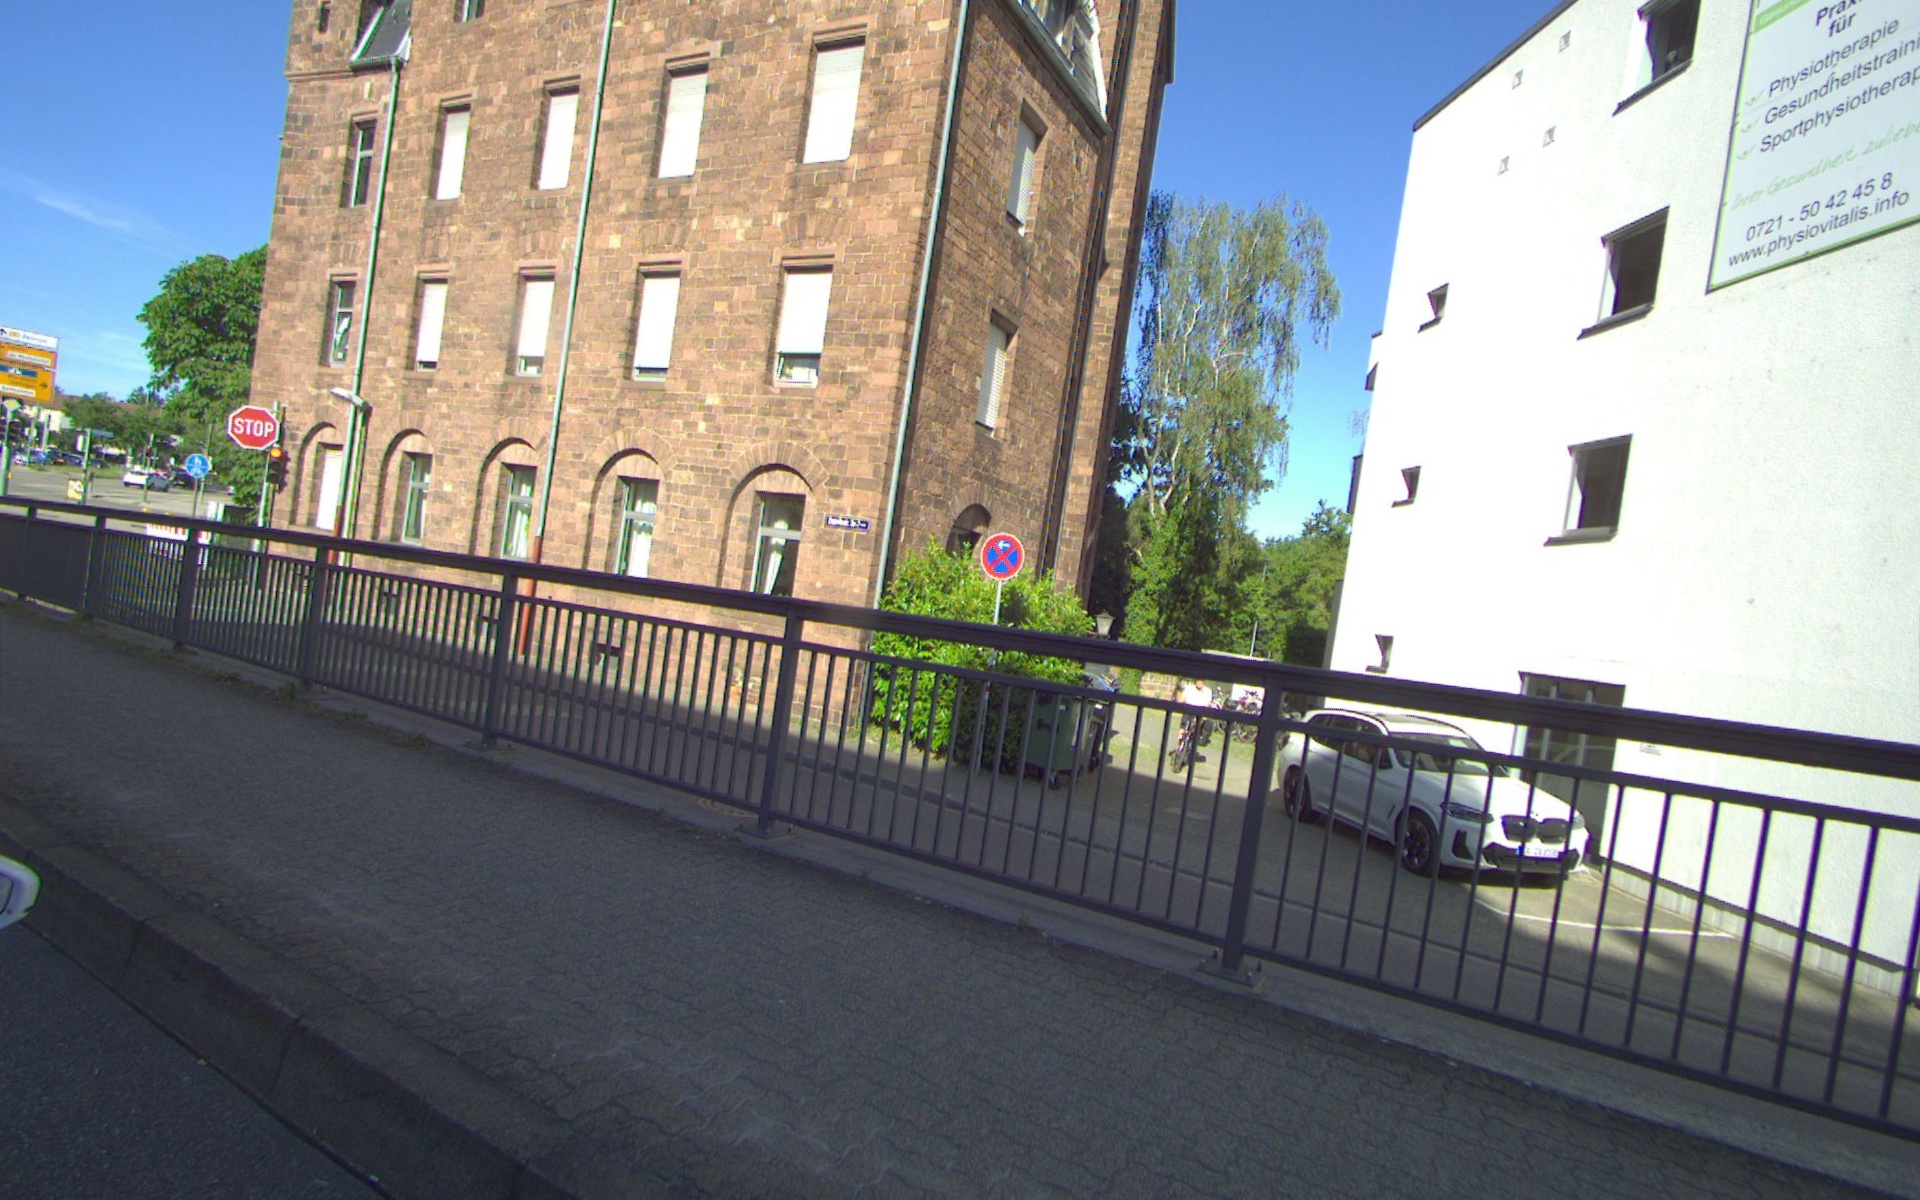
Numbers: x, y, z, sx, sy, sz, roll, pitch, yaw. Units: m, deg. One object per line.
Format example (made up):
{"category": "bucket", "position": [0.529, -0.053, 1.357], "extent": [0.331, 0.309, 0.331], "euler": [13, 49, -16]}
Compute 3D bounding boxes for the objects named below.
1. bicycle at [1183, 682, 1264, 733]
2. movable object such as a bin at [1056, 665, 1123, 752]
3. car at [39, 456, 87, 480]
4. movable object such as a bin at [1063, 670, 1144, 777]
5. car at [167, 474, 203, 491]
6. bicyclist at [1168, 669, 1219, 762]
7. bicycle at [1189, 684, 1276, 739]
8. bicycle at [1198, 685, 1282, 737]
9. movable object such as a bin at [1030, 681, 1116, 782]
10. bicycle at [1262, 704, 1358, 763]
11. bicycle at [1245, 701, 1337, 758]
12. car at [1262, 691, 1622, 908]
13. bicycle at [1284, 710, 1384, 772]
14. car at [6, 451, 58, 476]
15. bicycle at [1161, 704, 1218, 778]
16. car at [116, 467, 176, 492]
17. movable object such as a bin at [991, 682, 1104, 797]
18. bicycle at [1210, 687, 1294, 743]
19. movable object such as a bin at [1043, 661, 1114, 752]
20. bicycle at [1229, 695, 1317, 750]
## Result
{"category": "bicycle", "position": [7.661, 3.132, 29.264], "extent": [2.075, 1.174, 0.664], "euler": [8, 1, -9]}
{"category": "movable object such as a bin", "position": [2.643, 2.179, 20.457], "extent": [1.009, 1.539, 1.007], "euler": [9, 0, 14]}
{"category": "car", "position": [-82.318, -12.093, 92.347], "extent": [1.860, 1.598, 3.978], "euler": [8, 1, -22]}
{"category": "movable object such as a bin", "position": [2.398, 2.013, 16.661], "extent": [1.009, 1.539, 1.007], "euler": [9, 0, 14]}
{"category": "car", "position": [-76.771, -11.606, 99.722], "extent": [1.864, 1.311, 4.561], "euler": [8, 2, -26]}
{"category": "bicyclist", "position": [4.444, 2.182, 19.104], "extent": [0.675, 1.627, 0.697], "euler": [9, 0, 17]}
{"category": "bicycle", "position": [7.403, 3.024, 27.379], "extent": [2.075, 1.174, 0.664], "euler": [8, 1, -9]}
{"category": "bicycle", "position": [7.905, 3.131, 28.412], "extent": [2.075, 1.174, 0.664], "euler": [8, 1, -9]}
{"category": "movable object such as a bin", "position": [1.757, 1.995, 15.480], "extent": [1.009, 1.307, 1.007], "euler": [10, 0, 14]}
{"category": "bicycle", "position": [8.126, 3.090, 23.363], "extent": [1.889, 1.065, 0.664], "euler": [8, 1, -6]}
{"category": "bicycle", "position": [7.971, 3.110, 24.251], "extent": [1.889, 1.065, 0.664], "euler": [8, 1, -6]}
{"category": "car", "position": [5.955, 2.399, 13.214], "extent": [1.814, 1.707, 4.521], "euler": [8, 0, -9]}
{"category": "bicycle", "position": [8.331, 3.135, 22.449], "extent": [1.889, 1.065, 0.664], "euler": [8, 1, -6]}
{"category": "car", "position": [-79.899, -11.730, 86.645], "extent": [1.860, 1.598, 3.978], "euler": [8, 1, -22]}
{"category": "bicycle", "position": [4.367, 2.631, 19.066], "extent": [0.677, 1.154, 1.839], "euler": [9, 0, 20]}
{"category": "car", "position": [-64.432, -9.512, 79.681], "extent": [1.970, 1.382, 4.298], "euler": [8, 1, -15]}
{"category": "movable object such as a bin", "position": [1.189, 1.848, 13.518], "extent": [1.011, 1.307, 1.005], "euler": [10, 0, 29]}
{"category": "bicycle", "position": [7.665, 3.022, 26.446], "extent": [1.889, 1.174, 0.664], "euler": [8, 1, -6]}
{"category": "movable object such as a bin", "position": [2.282, 2.014, 19.268], "extent": [1.009, 1.539, 1.007], "euler": [9, 0, 14]}
{"category": "bicycle", "position": [7.866, 3.079, 25.279], "extent": [1.889, 1.065, 0.664], "euler": [8, 1, -6]}
